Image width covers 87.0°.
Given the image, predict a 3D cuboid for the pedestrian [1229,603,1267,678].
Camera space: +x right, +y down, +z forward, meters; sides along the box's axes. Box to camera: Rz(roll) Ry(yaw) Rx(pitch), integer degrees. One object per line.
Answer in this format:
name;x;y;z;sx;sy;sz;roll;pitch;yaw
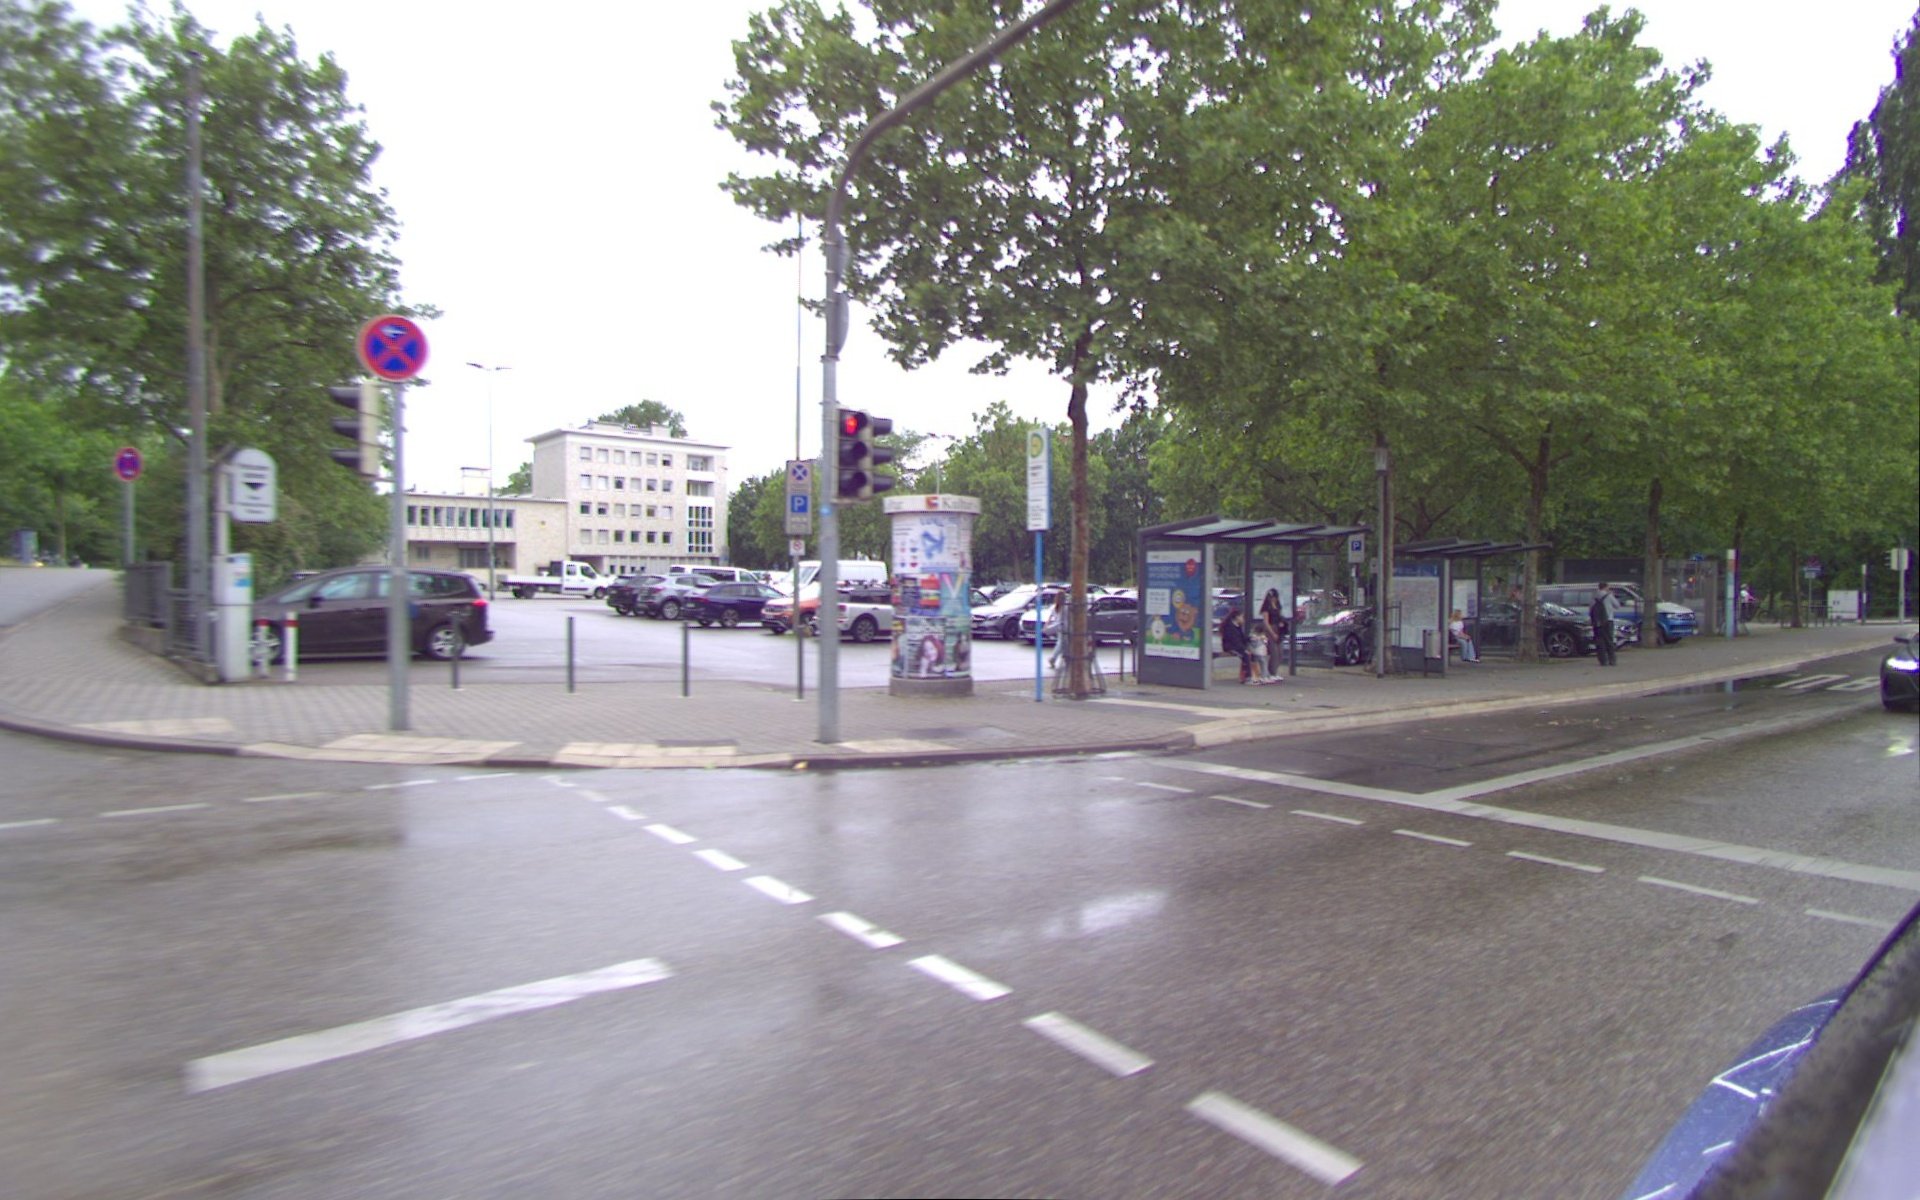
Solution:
pedestrian;5.073;0.712;17.839;0.394;1.287;0.500;1;0;-37

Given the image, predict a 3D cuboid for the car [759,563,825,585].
car;-11.814;-1.818;71.305;4.433;1.442;1.637;-1;1;-42

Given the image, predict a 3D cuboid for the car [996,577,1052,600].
car;4.206;-0.762;66.109;3.535;1.442;1.638;-1;1;-41

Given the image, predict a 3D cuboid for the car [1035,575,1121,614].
car;4.978;-0.218;42.385;3.569;1.523;1.531;1;1;-41

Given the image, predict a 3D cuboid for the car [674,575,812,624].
car;-6.962;0.000;32.610;3.925;1.467;1.763;1;1;-36

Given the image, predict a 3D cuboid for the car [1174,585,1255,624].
car;11.203;0.222;44.503;3.542;1.612;1.532;1;1;-36

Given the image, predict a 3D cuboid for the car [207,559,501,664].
car;-10.527;0.154;17.740;4.187;1.633;1.803;0;1;-41

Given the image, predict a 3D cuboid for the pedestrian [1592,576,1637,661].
pedestrian;14.579;0.400;22.557;0.727;1.865;0.750;-1;0;28

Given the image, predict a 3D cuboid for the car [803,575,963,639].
car;-2.066;0.188;27.750;4.103;1.610;1.761;1;1;-41

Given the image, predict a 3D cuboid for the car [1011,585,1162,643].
car;3.623;0.387;28.578;4.366;1.458;1.737;1;1;-41

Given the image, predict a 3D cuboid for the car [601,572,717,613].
car;-11.539;-0.277;38.862;3.925;1.462;1.661;1;1;-36

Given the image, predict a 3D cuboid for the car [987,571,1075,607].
car;3.697;-0.559;52.185;4.553;1.691;1.969;1;1;-44

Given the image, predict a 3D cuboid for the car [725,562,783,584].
car;-15.267;-2.034;75.104;3.863;1.566;1.637;-1;1;-42

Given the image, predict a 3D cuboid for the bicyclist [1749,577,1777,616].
bicyclist;37.374;-0.157;47.108;0.981;1.792;0.787;0;1;34

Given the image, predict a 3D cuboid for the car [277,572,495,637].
car;-13.408;0.078;23.761;4.187;1.371;1.855;0;1;-41

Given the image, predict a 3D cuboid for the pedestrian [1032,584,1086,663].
pedestrian;2.137;0.485;21.860;0.845;1.653;0.767;1;0;-38

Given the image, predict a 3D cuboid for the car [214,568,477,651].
car;-12.020;0.145;19.934;4.187;1.458;1.855;0;1;-41

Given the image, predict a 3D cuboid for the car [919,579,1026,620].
car;0.444;0.000;33.195;3.296;1.251;1.531;1;1;-41

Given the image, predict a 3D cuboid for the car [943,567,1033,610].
car;1.543;-0.588;54.207;4.802;2.181;1.969;1;1;-44

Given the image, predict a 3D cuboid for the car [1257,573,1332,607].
car;17.752;-0.549;53.653;4.367;1.709;1.779;-1;1;-41

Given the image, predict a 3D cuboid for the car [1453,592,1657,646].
car;17.112;0.580;29.348;1.828;1.423;4.750;-1;-1;-36

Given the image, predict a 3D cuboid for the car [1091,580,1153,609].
car;10.120;-0.351;63.251;3.814;1.709;1.779;-1;1;-41

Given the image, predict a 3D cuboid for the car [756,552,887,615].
car;-5.433;-0.624;40.176;4.928;2.348;1.969;1;1;-44

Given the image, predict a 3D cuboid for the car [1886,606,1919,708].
car;15.546;0.782;14.946;4.279;1.422;1.897;0;-1;-36

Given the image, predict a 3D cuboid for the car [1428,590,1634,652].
car;15.108;0.560;26.958;1.831;1.503;4.405;-1;-1;-42

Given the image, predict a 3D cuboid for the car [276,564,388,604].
car;-28.167;-0.712;45.563;4.176;1.697;1.859;0;1;-30

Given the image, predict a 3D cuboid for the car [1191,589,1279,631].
car;10.263;0.325;37.651;3.298;1.440;1.638;-2;1;-42

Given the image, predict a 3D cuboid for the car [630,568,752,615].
car;-9.782;-0.297;36.891;3.925;1.585;1.763;1;1;-36

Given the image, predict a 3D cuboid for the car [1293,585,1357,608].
car;24.365;-0.267;67.713;1.442;1.481;3.821;-1;2;-42

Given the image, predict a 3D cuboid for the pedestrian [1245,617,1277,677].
pedestrian;5.383;0.835;18.110;0.363;1.048;0.401;1;0;-37

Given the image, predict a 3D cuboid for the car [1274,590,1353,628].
car;14.391;0.357;41.142;3.774;1.445;1.529;1;1;-45

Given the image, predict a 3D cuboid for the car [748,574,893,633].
car;-4.092;0.112;29.979;3.929;1.610;1.761;1;1;-41

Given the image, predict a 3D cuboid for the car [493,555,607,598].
car;-24.656;-1.388;60.969;5.943;2.389;2.227;1;1;-44

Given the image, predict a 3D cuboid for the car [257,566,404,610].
car;-22.125;-0.433;35.631;4.187;1.458;1.855;0;1;-41

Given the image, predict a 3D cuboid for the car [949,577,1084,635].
car;1.739;0.191;30.641;3.929;1.610;1.761;1;1;-41

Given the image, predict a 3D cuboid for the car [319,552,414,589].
car;-29.157;-1.441;49.814;3.936;1.697;1.859;0;1;-30

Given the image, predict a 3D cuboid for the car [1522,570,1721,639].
car;20.780;0.186;32.008;1.914;1.967;4.847;-1;-1;-36

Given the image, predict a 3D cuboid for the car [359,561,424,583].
car;-38.399;-1.898;68.407;3.742;1.439;1.703;0;1;-33

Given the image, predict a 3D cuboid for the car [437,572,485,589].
car;-47.996;-1.916;97.368;3.863;1.566;1.637;-1;1;-42

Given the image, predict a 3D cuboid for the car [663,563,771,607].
car;-10.809;-0.654;45.208;4.289;1.853;1.831;1;1;-42

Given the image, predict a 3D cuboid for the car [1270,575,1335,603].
car;19.861;-0.650;58.637;3.812;1.525;1.780;-1;1;-39

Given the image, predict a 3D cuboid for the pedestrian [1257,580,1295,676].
pedestrian;5.776;0.493;18.511;0.532;1.717;0.554;1;0;7

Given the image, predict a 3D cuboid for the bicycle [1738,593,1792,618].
bicycle;37.435;0.234;47.101;1.920;1.108;0.642;0;1;35

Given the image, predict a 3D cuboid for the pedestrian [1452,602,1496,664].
pedestrian;11.605;0.733;22.861;0.613;1.338;0.634;-1;0;-25

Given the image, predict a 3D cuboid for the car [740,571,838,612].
car;-7.441;-0.368;44.295;3.834;1.688;1.806;1;1;-42
